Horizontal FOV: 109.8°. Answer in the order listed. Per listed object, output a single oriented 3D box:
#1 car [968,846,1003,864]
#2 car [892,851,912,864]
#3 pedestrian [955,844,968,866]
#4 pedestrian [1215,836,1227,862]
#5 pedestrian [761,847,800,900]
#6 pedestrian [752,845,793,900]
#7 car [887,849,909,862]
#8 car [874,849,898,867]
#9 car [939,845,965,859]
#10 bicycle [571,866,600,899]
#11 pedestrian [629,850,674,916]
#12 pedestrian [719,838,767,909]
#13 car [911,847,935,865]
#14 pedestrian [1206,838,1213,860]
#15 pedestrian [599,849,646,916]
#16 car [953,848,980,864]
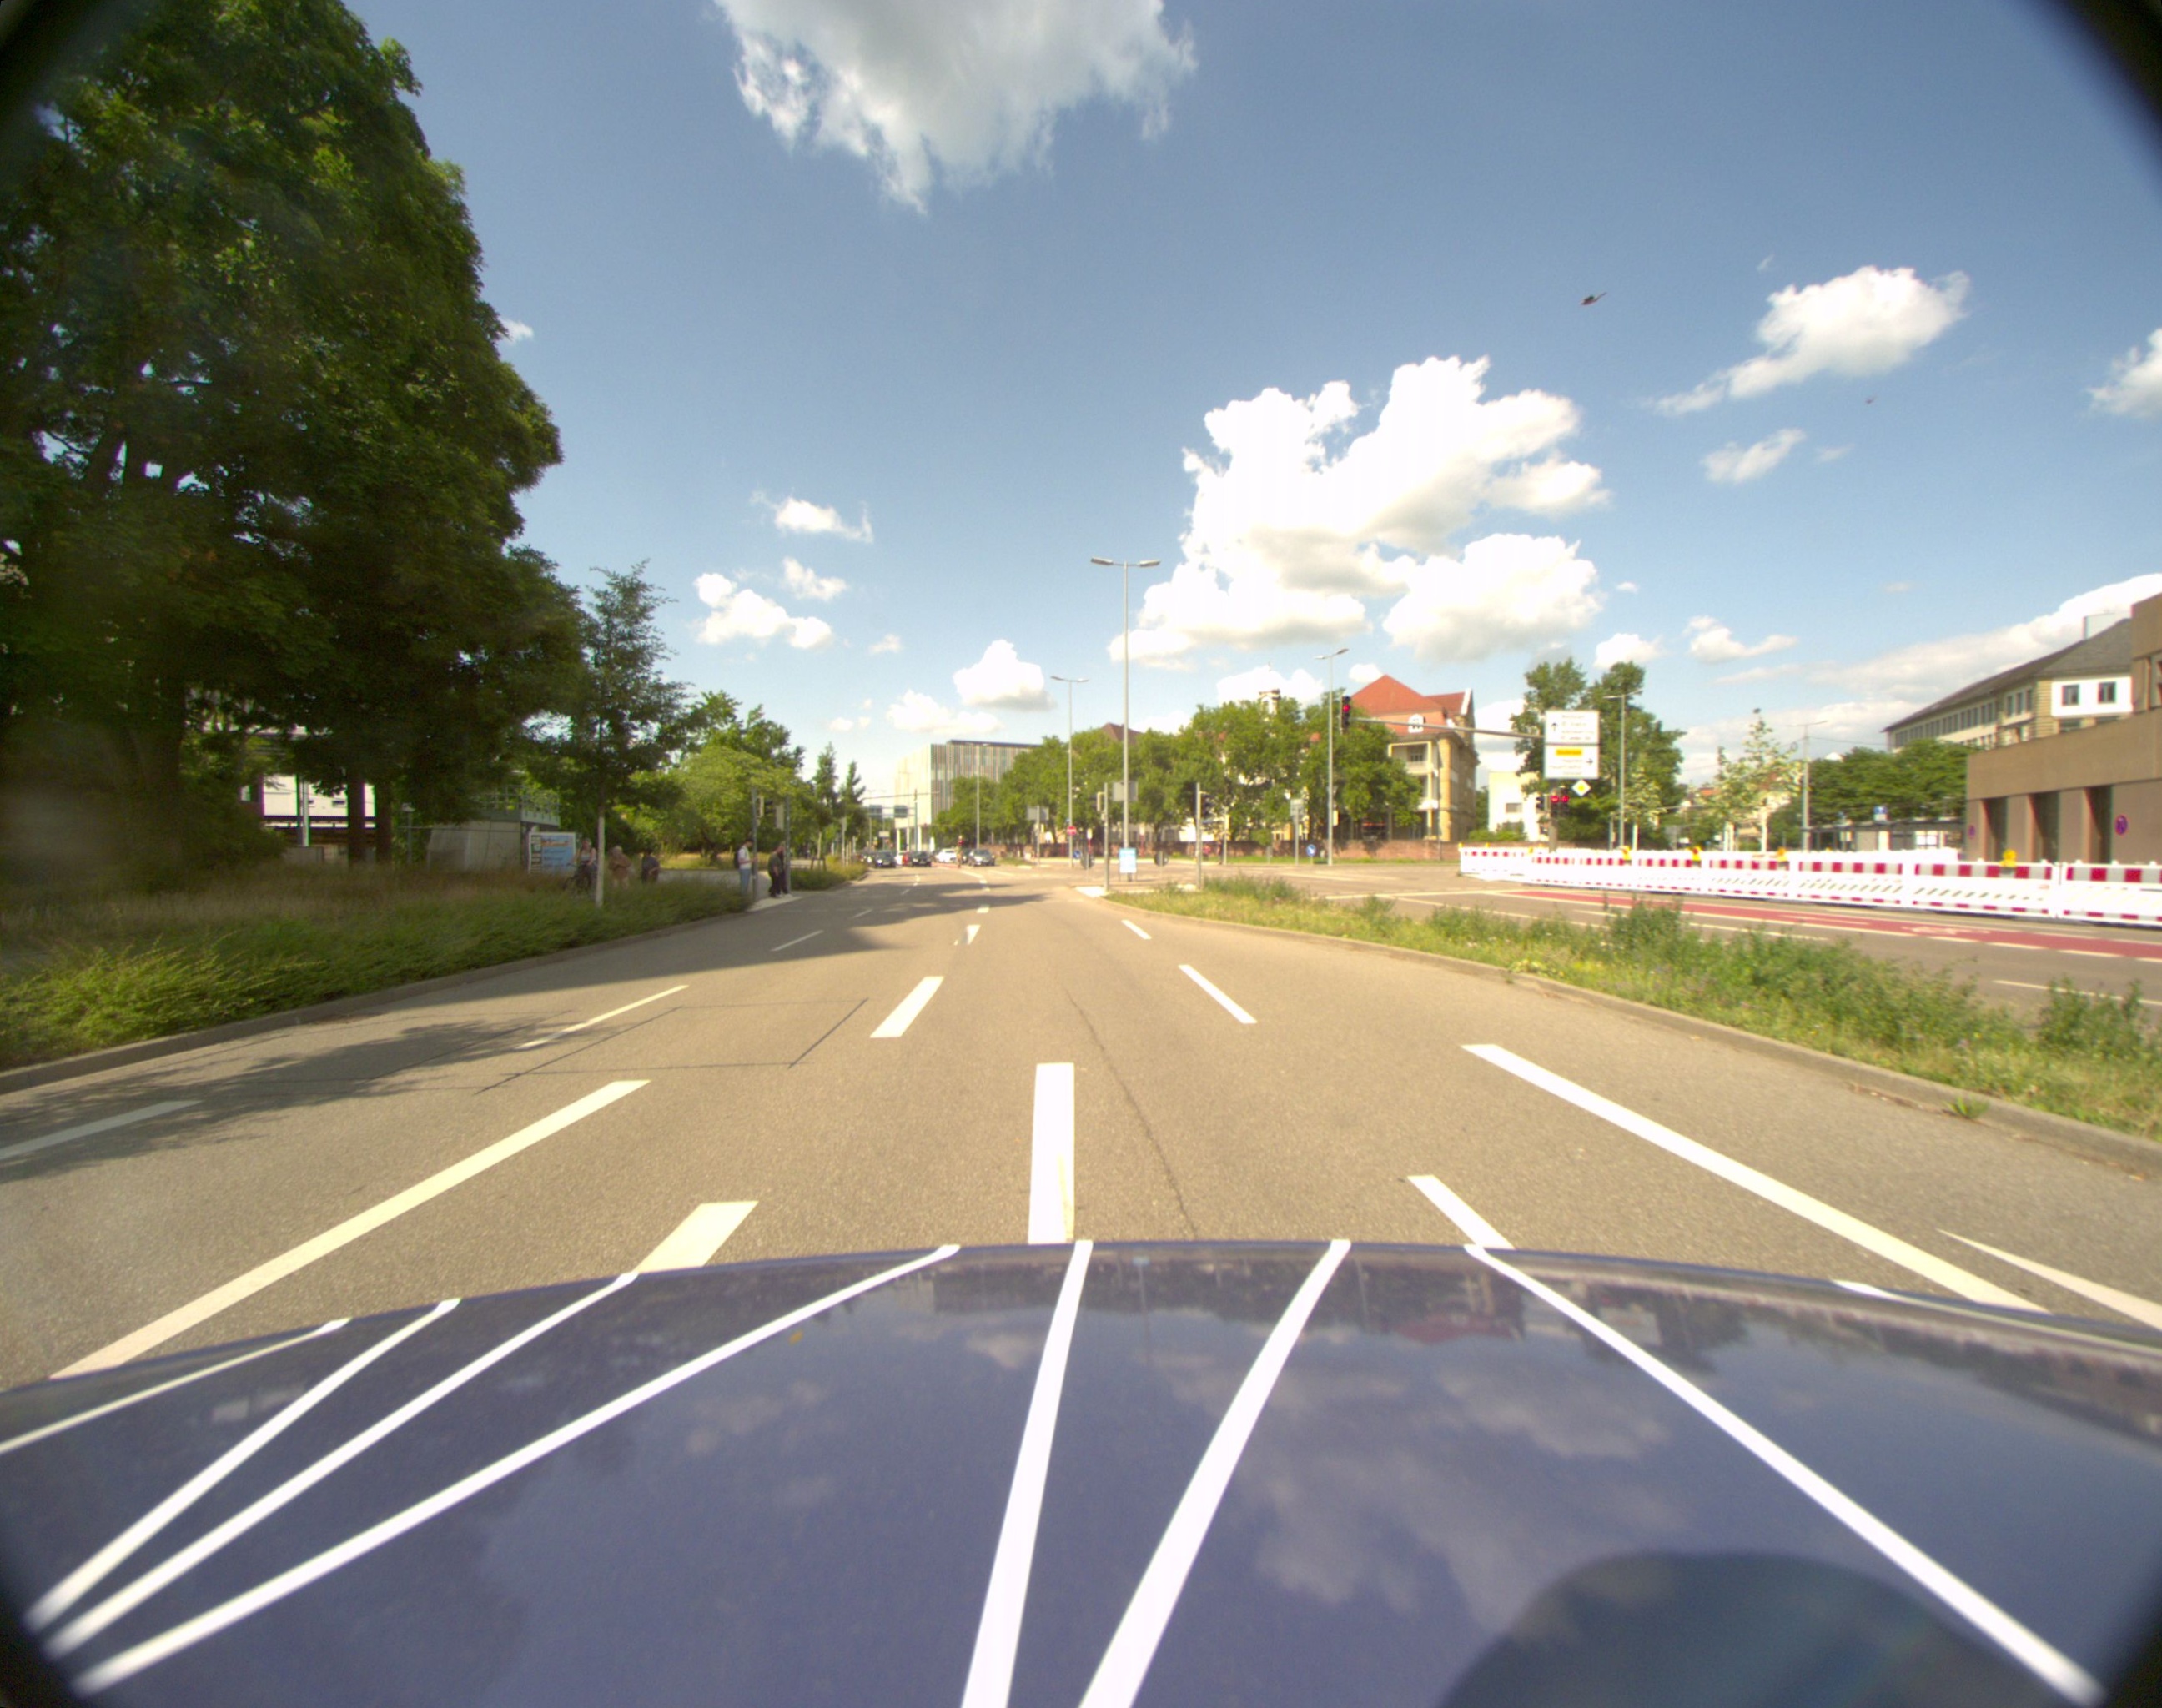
[{"bbox_3d":[-8.057,0.044,63.712,2.002,1.368,4.262,-2,1,-20],"label":"car"},{"bbox_3d":[-16.641,0.319,70.577,1.599,1.127,3.624,-2,1,-16],"label":"car"},{"bbox_3d":[-9.390,0.055,59.826,0.739,1.705,0.874,-3,2,-22],"label":"pedestrian"},{"bbox_3d":[10.927,-0.383,59.276,0.582,1.983,0.621,-3,2,-27],"label":"pedestrian"},{"bbox_3d":[-10.094,0.633,25.531,0.928,1.725,0.768,-2,2,-2],"label":"pedestrian"},{"bbox_3d":[-10.042,0.599,24.754,0.928,1.725,0.768,-2,2,-2],"label":"pedestrian"},{"bbox_3d":[-18.406,0.153,76.316,1.911,1.127,4.095,-1,2,-16],"label":"car"},{"bbox_3d":[-16.452,0.298,64.070,1.828,1.455,3.994,-1,1,-14],"label":"car"},{"bbox_3d":[-13.597,-0.239,79.983,1.781,1.347,3.992,-2,1,-23],"label":"car"},{"bbox_3d":[-14.384,0.806,22.026,0.650,0.876,1.817,-1,1,-34],"label":"bicycle"},{"bbox_3d":[-11.584,0.768,20.506,0.768,1.725,0.718,-2,2,-8],"label":"pedestrian"},{"bbox_3d":[-9.856,0.552,22.170,0.965,2.002,0.768,-2,2,-2],"label":"pedestrian"},{"bbox_3d":[-13.646,0.166,65.489,1.828,1.455,3.994,-1,1,-15],"label":"car"},{"bbox_3d":[10.333,-0.405,61.098,0.368,1.723,0.451,-1,2,30],"label":"pedestrian"},{"bbox_3d":[-12.329,0.746,20.443,0.768,1.725,0.718,-2,2,-8],"label":"pedestrian"},{"bbox_3d":[-10.761,0.174,71.409,1.735,1.327,3.782,-2,1,-21],"label":"car"}]
